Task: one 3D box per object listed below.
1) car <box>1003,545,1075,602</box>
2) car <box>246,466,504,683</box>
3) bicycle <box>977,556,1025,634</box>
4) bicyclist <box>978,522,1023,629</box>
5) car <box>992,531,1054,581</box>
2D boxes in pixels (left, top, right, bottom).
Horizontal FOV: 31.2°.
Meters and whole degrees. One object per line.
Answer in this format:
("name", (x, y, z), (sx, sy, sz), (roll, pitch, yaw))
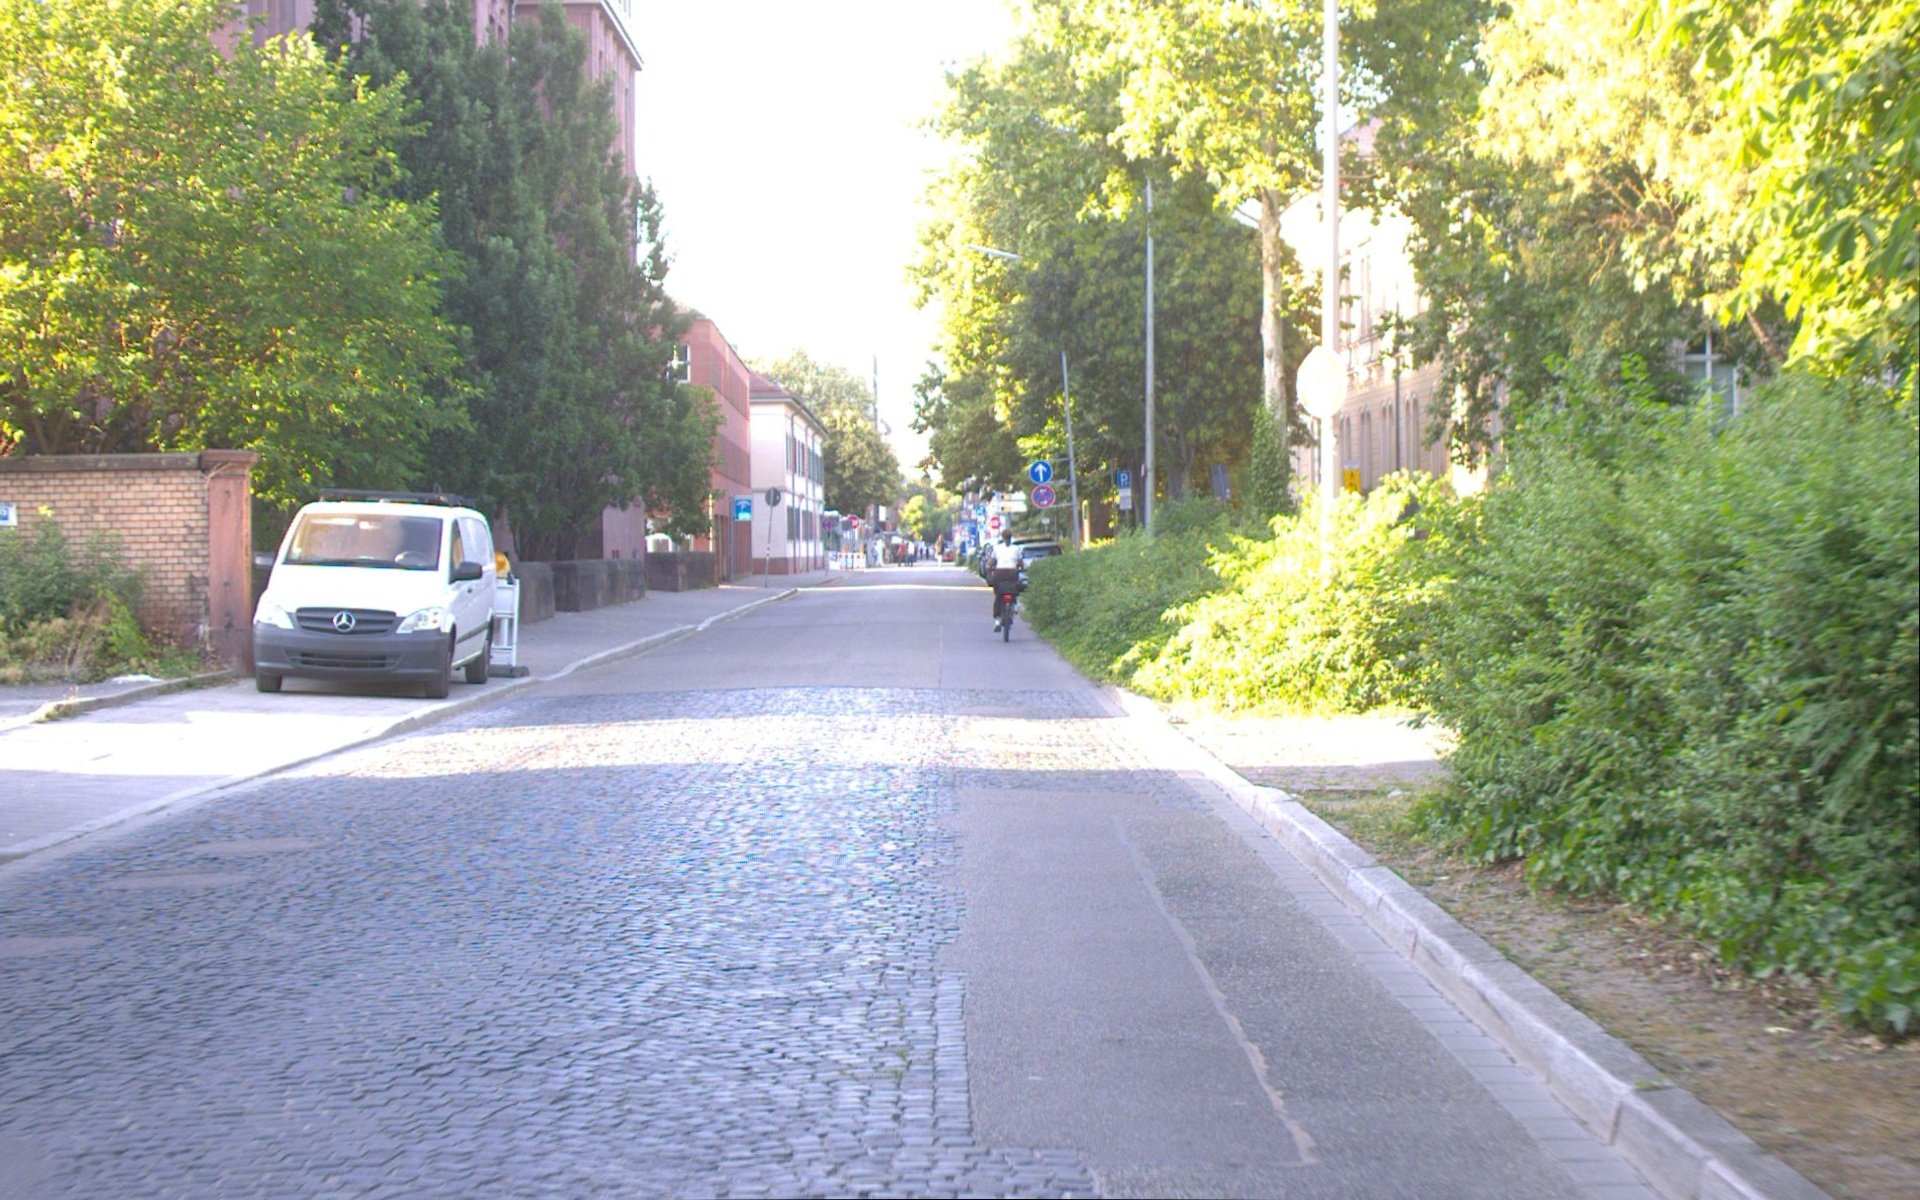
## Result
("car", (2.146, -0.711, 94.151), (1.685, 1.442, 3.672), (-3, 0, -2))
("car", (-5.848, -0.248, 34.969), (1.882, 2.007, 5.226), (1, 0, -2))
("bicycle", (0.640, -0.090, 54.053), (0.638, 1.189, 1.876), (1, 1, -2))
("bicyclist", (0.639, -0.391, 54.156), (0.639, 1.661, 0.843), (1, 1, -2))
("car", (1.961, -1.399, 108.104), (1.715, 1.532, 4.049), (0, 1, -2))
